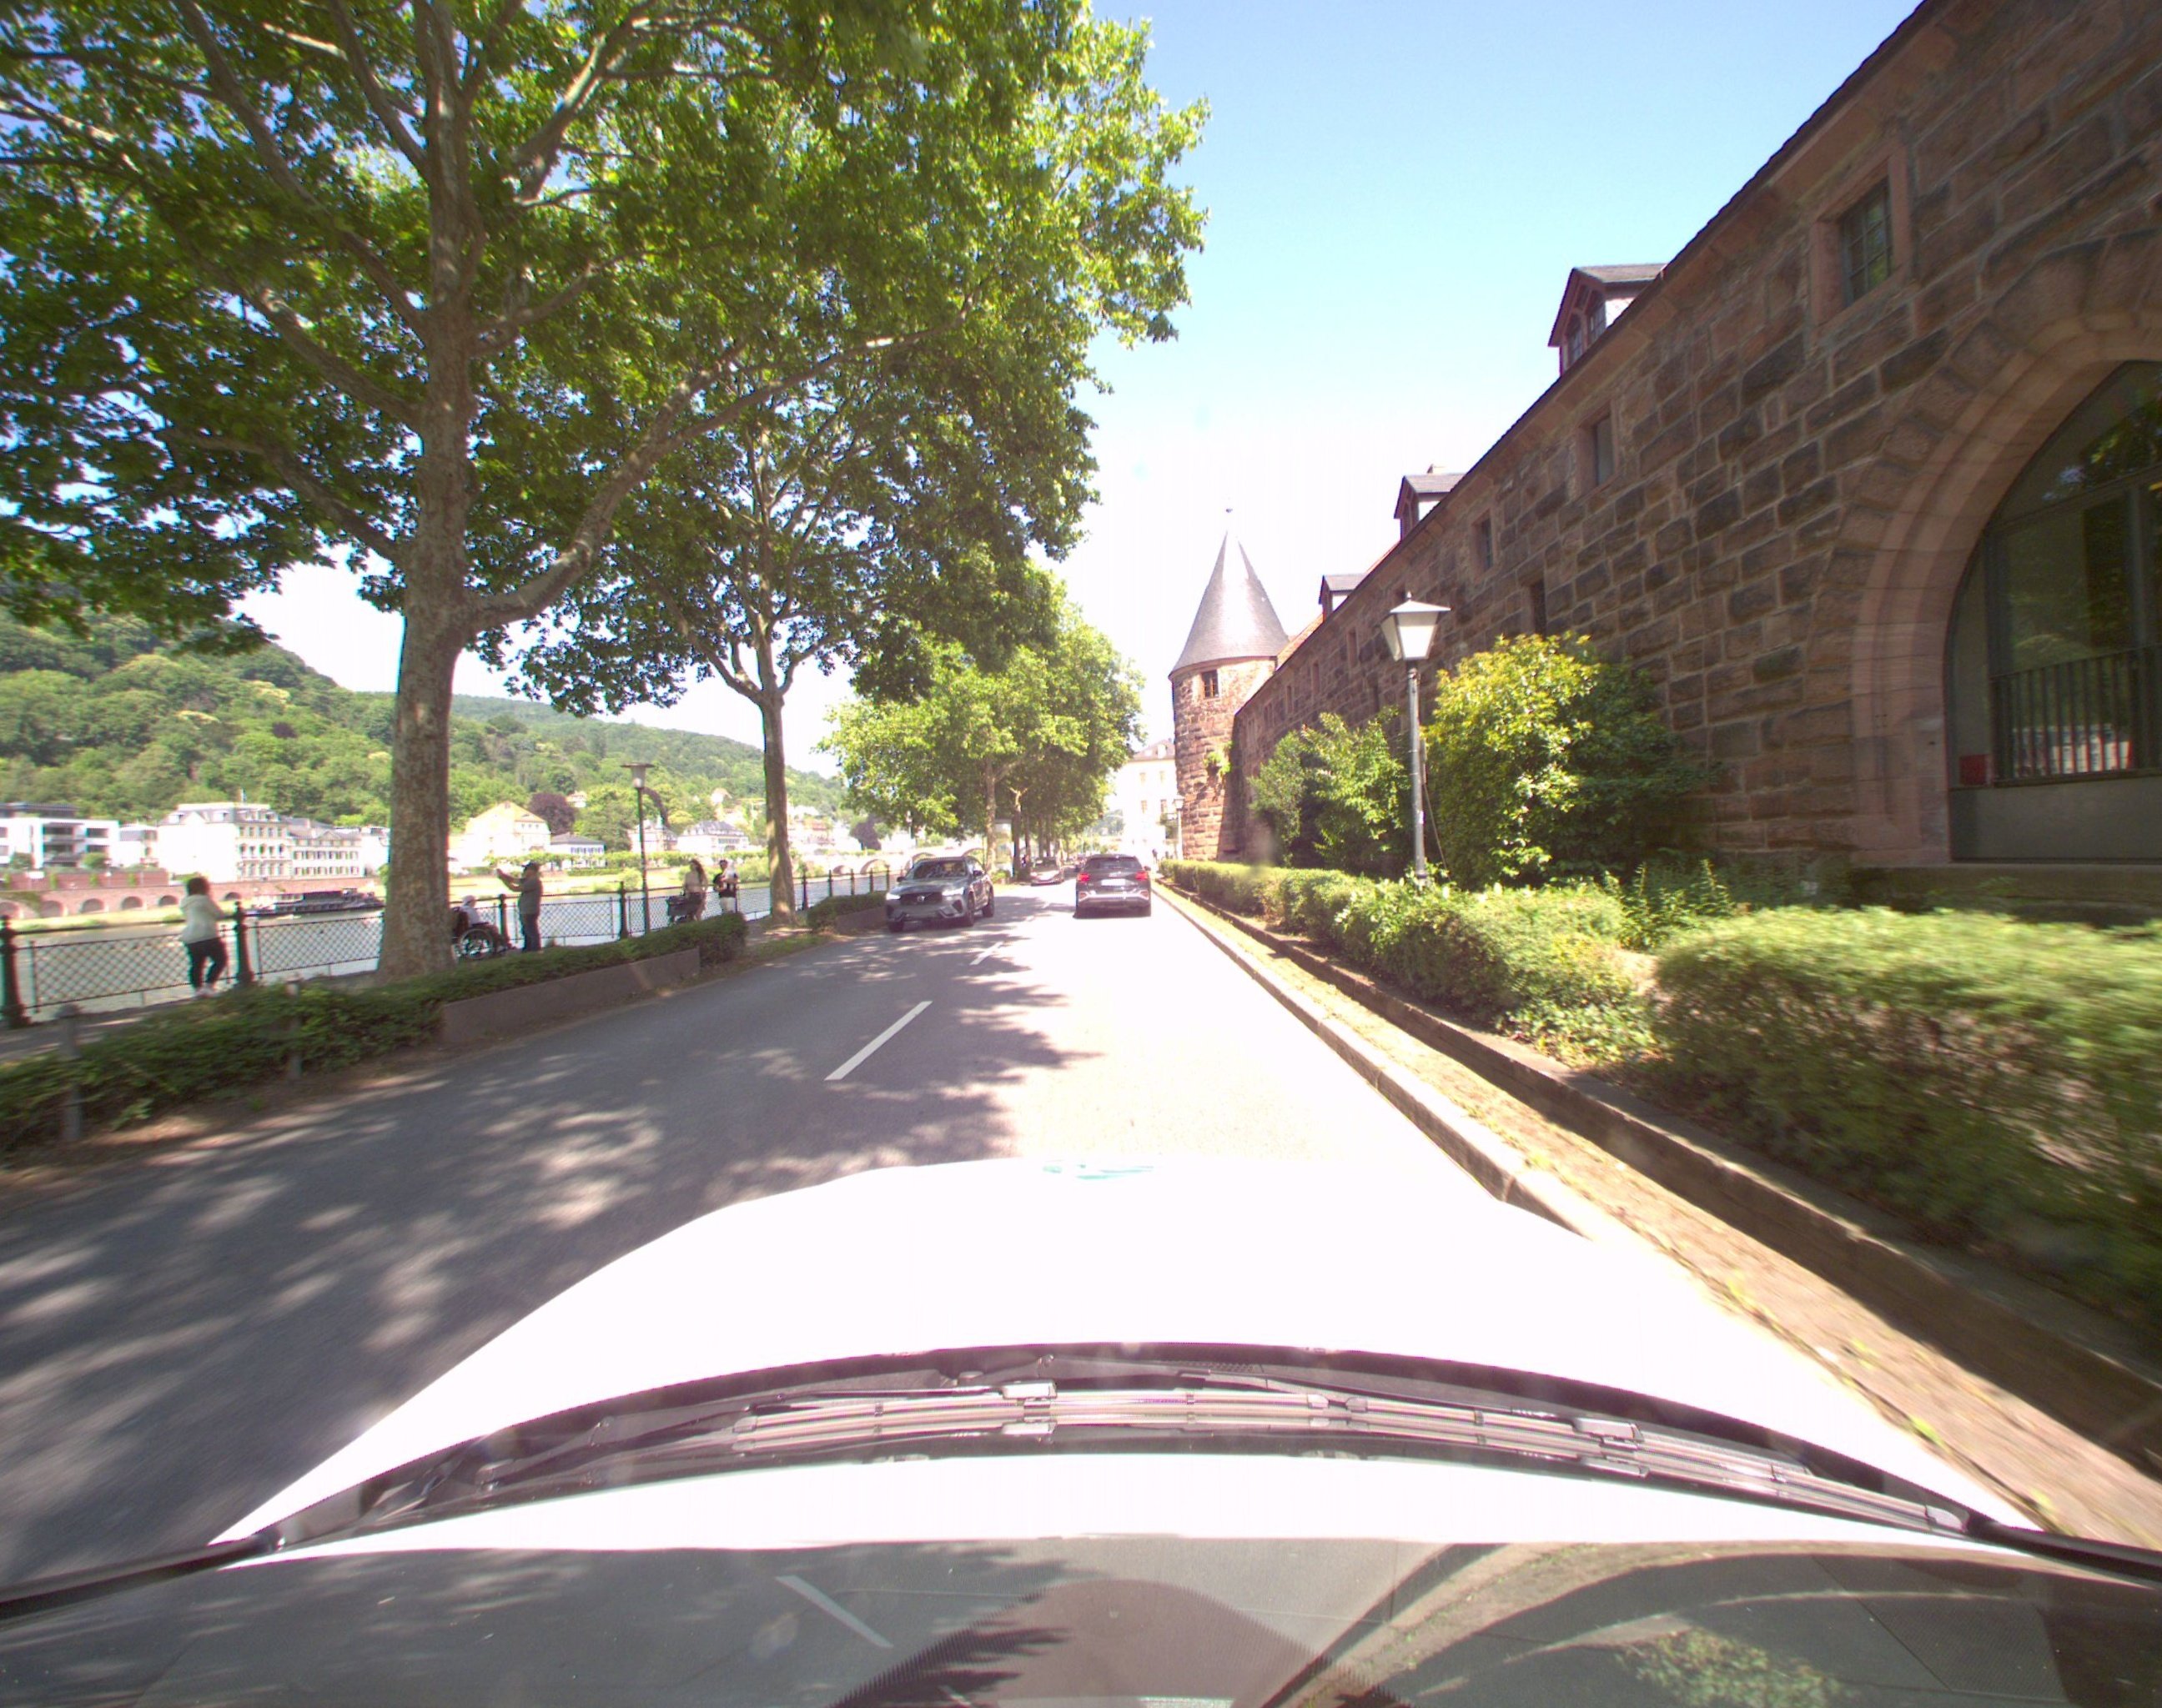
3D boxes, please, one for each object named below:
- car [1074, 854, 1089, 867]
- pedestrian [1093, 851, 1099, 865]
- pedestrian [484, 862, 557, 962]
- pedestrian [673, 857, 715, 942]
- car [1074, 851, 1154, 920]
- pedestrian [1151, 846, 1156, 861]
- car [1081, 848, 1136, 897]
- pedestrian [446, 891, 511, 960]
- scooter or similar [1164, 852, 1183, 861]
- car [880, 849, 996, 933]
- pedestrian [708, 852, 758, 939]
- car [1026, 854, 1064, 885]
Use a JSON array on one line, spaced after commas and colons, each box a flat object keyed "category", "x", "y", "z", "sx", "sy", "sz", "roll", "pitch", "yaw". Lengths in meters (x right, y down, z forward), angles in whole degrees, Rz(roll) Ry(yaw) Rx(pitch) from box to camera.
[{"category": "car", "x": 0.123, "y": 0.860, "z": 104.432, "sx": 1.608, "sy": 1.523, "sz": 3.480, "roll": -4, "pitch": 0, "yaw": 4}, {"category": "pedestrian", "x": 1.770, "y": 0.460, "z": 97.652, "sx": 0.516, "sy": 1.638, "sz": 0.438, "roll": -4, "pitch": 0, "yaw": -5}, {"category": "pedestrian", "x": -9.949, "y": 1.008, "z": 14.486, "sx": 0.690, "sy": 1.717, "sz": 0.874, "roll": 0, "pitch": -1, "yaw": 0}, {"category": "pedestrian", "x": -8.412, "y": 0.975, "z": 17.714, "sx": 0.515, "sy": 1.768, "sz": 0.592, "roll": -3, "pitch": 0, "yaw": 2}, {"category": "car", "x": 0.778, "y": 0.713, "z": 20.179, "sx": 1.742, "sy": 1.494, "sz": 3.629, "roll": -2, "pitch": 0, "yaw": 1}, {"category": "pedestrian", "x": 7.783, "y": -0.067, "z": 87.482, "sx": 0.555, "sy": 1.633, "sz": 0.660, "roll": -1, "pitch": -1, "yaw": 3}, {"category": "car", "x": 1.036, "y": 0.634, "z": 29.992, "sx": 1.794, "sy": 1.562, "sz": 3.718, "roll": -4, "pitch": 0, "yaw": 2}, {"category": "pedestrian", "x": -11.264, "y": 1.323, "z": 15.237, "sx": 0.607, "sy": 1.177, "sz": 0.696, "roll": -4, "pitch": 0, "yaw": 3}, {"category": "scooter or similar", "x": 9.191, "y": 0.244, "z": 80.736, "sx": 1.838, "sy": 0.963, "sz": 0.429, "roll": 0, "pitch": -1, "yaw": 1}, {"category": "car", "x": -3.310, "y": 0.809, "z": 19.683, "sx": 1.870, "sy": 1.698, "sz": 4.259, "roll": -4, "pitch": 0, "yaw": 1}, {"category": "pedestrian", "x": -7.794, "y": 0.905, "z": 18.249, "sx": 0.638, "sy": 1.870, "sz": 0.806, "roll": -3, "pitch": 0, "yaw": 2}, {"category": "car", "x": -2.059, "y": 0.877, "z": 47.539, "sx": 1.756, "sy": 1.647, "sz": 4.092, "roll": -4, "pitch": 0, "yaw": 2}]
